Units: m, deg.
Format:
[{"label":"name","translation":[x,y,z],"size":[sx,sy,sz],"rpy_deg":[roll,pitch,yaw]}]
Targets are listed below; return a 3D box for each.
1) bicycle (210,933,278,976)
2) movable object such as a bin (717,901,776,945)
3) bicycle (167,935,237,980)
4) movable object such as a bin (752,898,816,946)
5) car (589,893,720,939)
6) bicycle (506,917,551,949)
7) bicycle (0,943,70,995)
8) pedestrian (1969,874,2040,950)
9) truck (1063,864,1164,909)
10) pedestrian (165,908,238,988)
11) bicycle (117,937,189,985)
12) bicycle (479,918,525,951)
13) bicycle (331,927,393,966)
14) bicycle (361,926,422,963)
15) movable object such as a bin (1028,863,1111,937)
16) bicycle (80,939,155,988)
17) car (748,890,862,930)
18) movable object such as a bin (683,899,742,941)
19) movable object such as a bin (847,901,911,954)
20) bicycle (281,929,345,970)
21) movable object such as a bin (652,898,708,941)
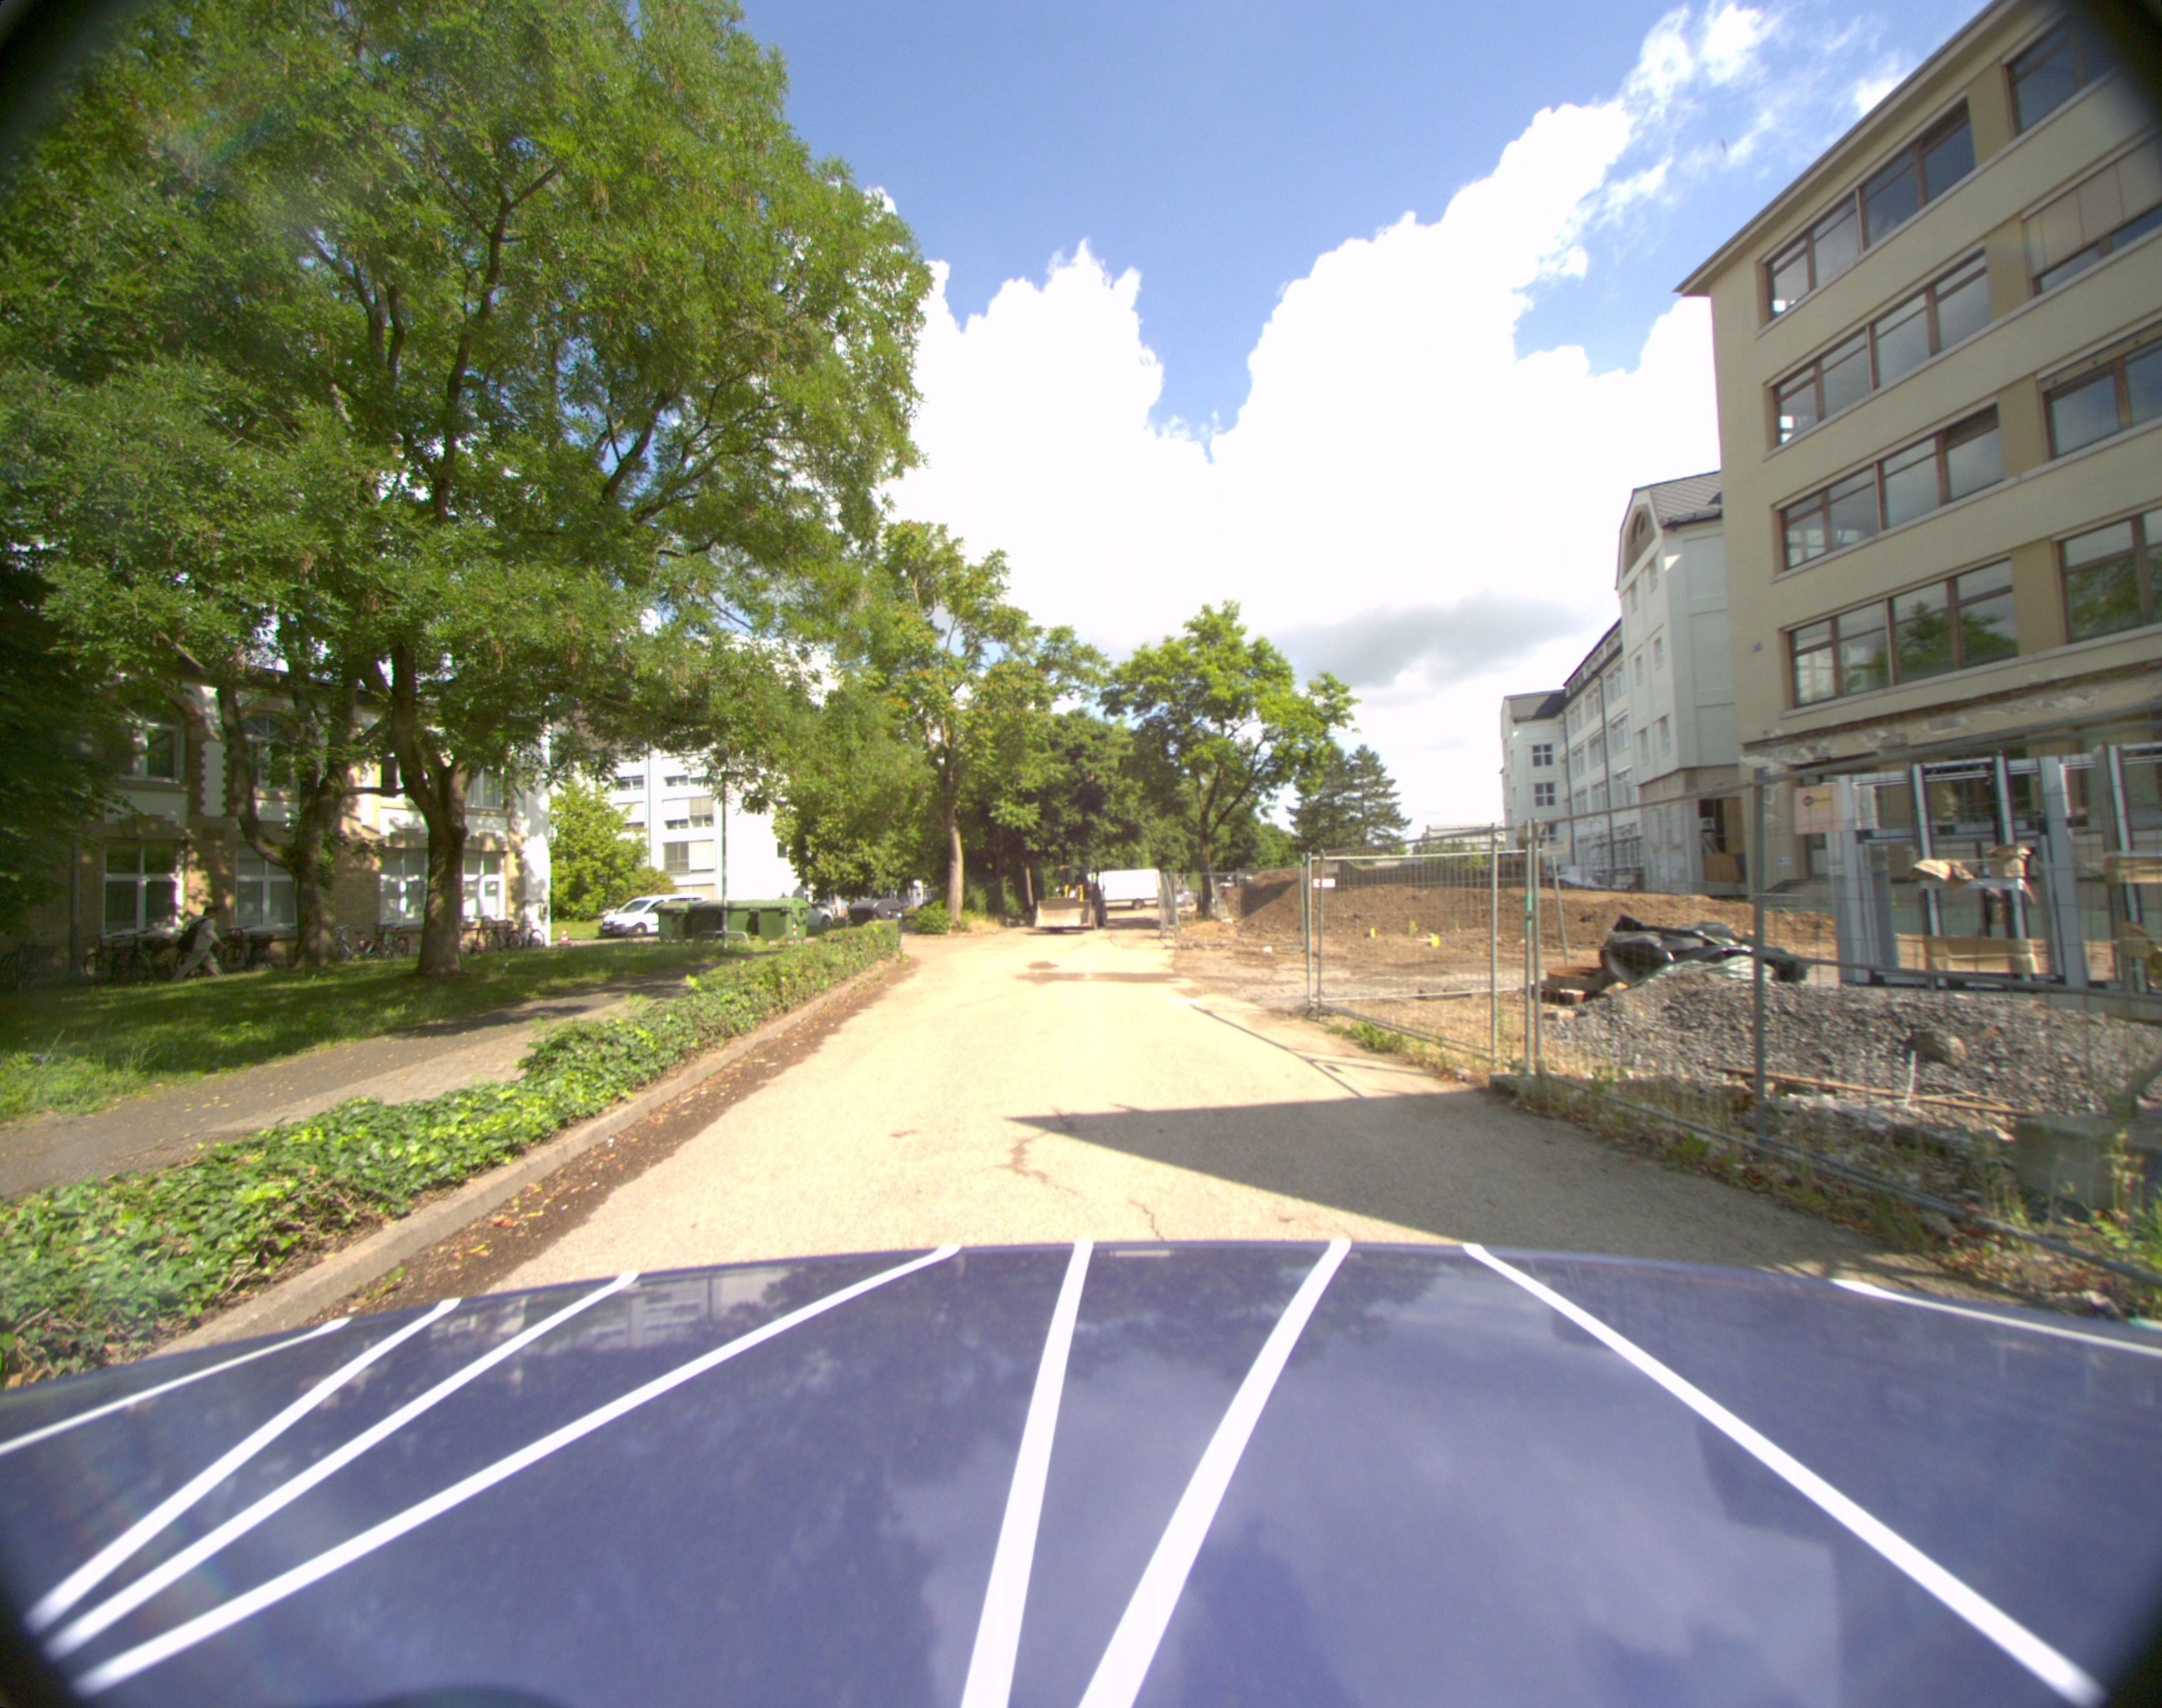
[{"label":"bicycle","translation":[-20.102,2.398,18.245],"size":[1.816,0.981,0.428],"rpy_deg":[-2,-3,21]},{"label":"movable object such as a bin","translation":[-10.164,2.079,23.100],"size":[1.253,1.258,1.001],"rpy_deg":[-2,-1,19]},{"label":"bicycle","translation":[-20.286,2.372,17.526],"size":[1.816,0.981,0.428],"rpy_deg":[-2,-3,21]},{"label":"movable object such as a bin","translation":[-8.836,2.005,22.619],"size":[1.364,1.344,1.096],"rpy_deg":[-2,-1,19]},{"label":"car","translation":[-19.919,2.860,35.764],"size":[2.034,1.851,5.103],"rpy_deg":[-3,-2,26]},{"label":"bicycle","translation":[-17.605,2.512,24.218],"size":[1.455,0.981,0.428],"rpy_deg":[-2,-3,21]},{"label":"bicycle","translation":[-21.175,2.301,15.313],"size":[1.816,0.981,0.428],"rpy_deg":[-2,-3,21]},{"label":"pedestrian","translation":[16.695,1.040,13.751],"size":[0.462,1.304,0.636],"rpy_deg":[-6,-4,24]},{"label":"truck","translation":[2.246,2.177,51.329],"size":[6.549,2.762,2.001],"rpy_deg":[-2,1,8]},{"label":"pedestrian","translation":[-18.654,1.981,16.130],"size":[0.569,1.613,0.860],"rpy_deg":[-3,-2,18]},{"label":"bicycle","translation":[-20.561,2.356,16.829],"size":[1.816,0.981,0.428],"rpy_deg":[-2,-3,21]},{"label":"bicycle","translation":[-17.907,2.482,23.500],"size":[1.455,0.981,0.428],"rpy_deg":[-2,-3,22]},{"label":"bicycle","translation":[-19.190,2.447,20.265],"size":[1.816,0.981,0.428],"rpy_deg":[-2,-3,21]},{"label":"bicycle","translation":[-19.048,2.486,20.983],"size":[1.816,0.981,0.428],"rpy_deg":[-2,-3,21]},{"label":"movable object such as a bin","translation":[-0.289,1.600,27.993],"size":[1.997,2.429,5.438],"rpy_deg":[-2,-1,10]},{"label":"bicycle","translation":[-20.673,2.329,16.296],"size":[1.816,0.981,0.428],"rpy_deg":[-2,-3,21]},{"label":"car","translation":[-11.994,2.407,33.493],"size":[1.806,1.487,5.101],"rpy_deg":[-3,-2,20]},{"label":"movable object such as a bin","translation":[-11.447,2.032,23.612],"size":[1.271,1.213,1.030],"rpy_deg":[-2,-1,19]},{"label":"movable object such as a bin","translation":[-5.531,1.982,20.789],"size":[1.320,1.349,1.133],"rpy_deg":[-2,-1,41]},{"label":"bicycle","translation":[-19.568,2.425,19.353],"size":[1.816,0.981,0.428],"rpy_deg":[-2,-3,21]},{"label":"movable object such as a bin","translation":[-12.748,2.077,24.188],"size":[1.188,1.285,1.005],"rpy_deg":[-2,-1,19]}]
